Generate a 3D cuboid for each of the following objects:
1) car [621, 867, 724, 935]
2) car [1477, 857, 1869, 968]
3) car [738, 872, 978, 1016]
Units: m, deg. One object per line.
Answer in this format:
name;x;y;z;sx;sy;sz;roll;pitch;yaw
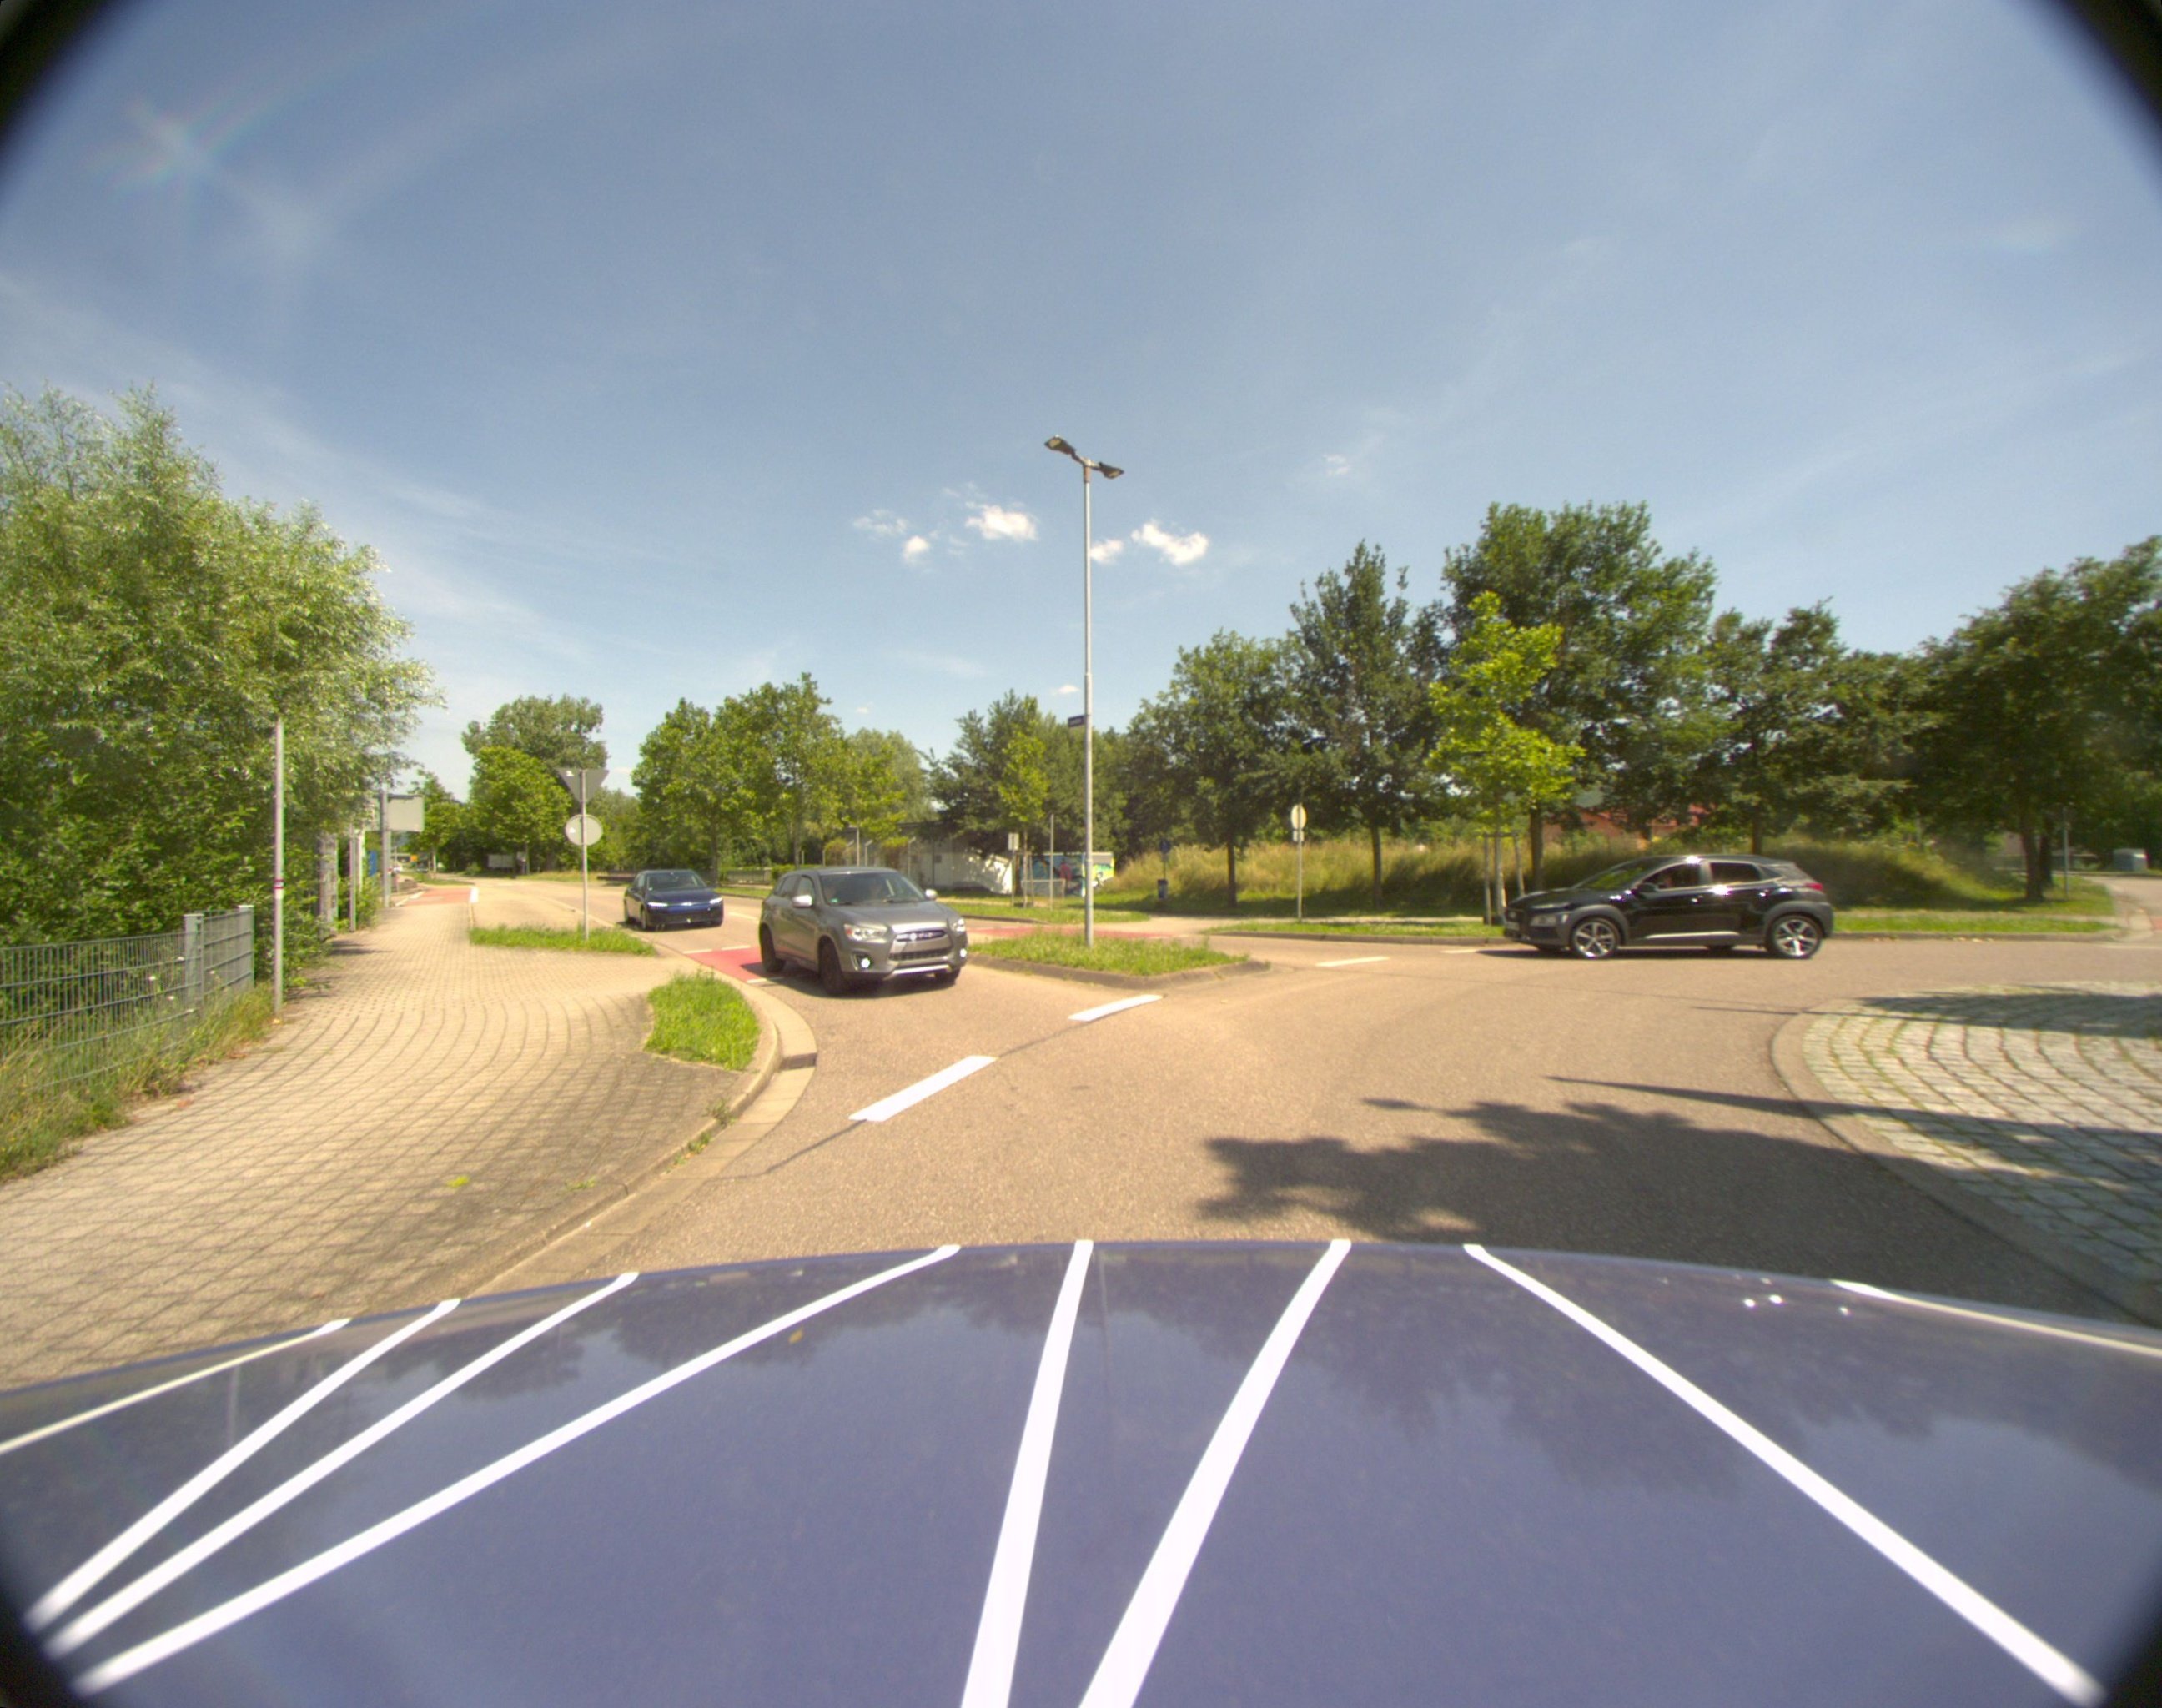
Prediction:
car;-10.685;1.127;19.716;1.798;1.530;4.121;-1;0;-36
car;8.911;0.865;11.857;4.480;1.559;1.867;-1;-1;8
car;-3.412;1.080;10.971;1.754;1.525;4.512;-1;0;-38
